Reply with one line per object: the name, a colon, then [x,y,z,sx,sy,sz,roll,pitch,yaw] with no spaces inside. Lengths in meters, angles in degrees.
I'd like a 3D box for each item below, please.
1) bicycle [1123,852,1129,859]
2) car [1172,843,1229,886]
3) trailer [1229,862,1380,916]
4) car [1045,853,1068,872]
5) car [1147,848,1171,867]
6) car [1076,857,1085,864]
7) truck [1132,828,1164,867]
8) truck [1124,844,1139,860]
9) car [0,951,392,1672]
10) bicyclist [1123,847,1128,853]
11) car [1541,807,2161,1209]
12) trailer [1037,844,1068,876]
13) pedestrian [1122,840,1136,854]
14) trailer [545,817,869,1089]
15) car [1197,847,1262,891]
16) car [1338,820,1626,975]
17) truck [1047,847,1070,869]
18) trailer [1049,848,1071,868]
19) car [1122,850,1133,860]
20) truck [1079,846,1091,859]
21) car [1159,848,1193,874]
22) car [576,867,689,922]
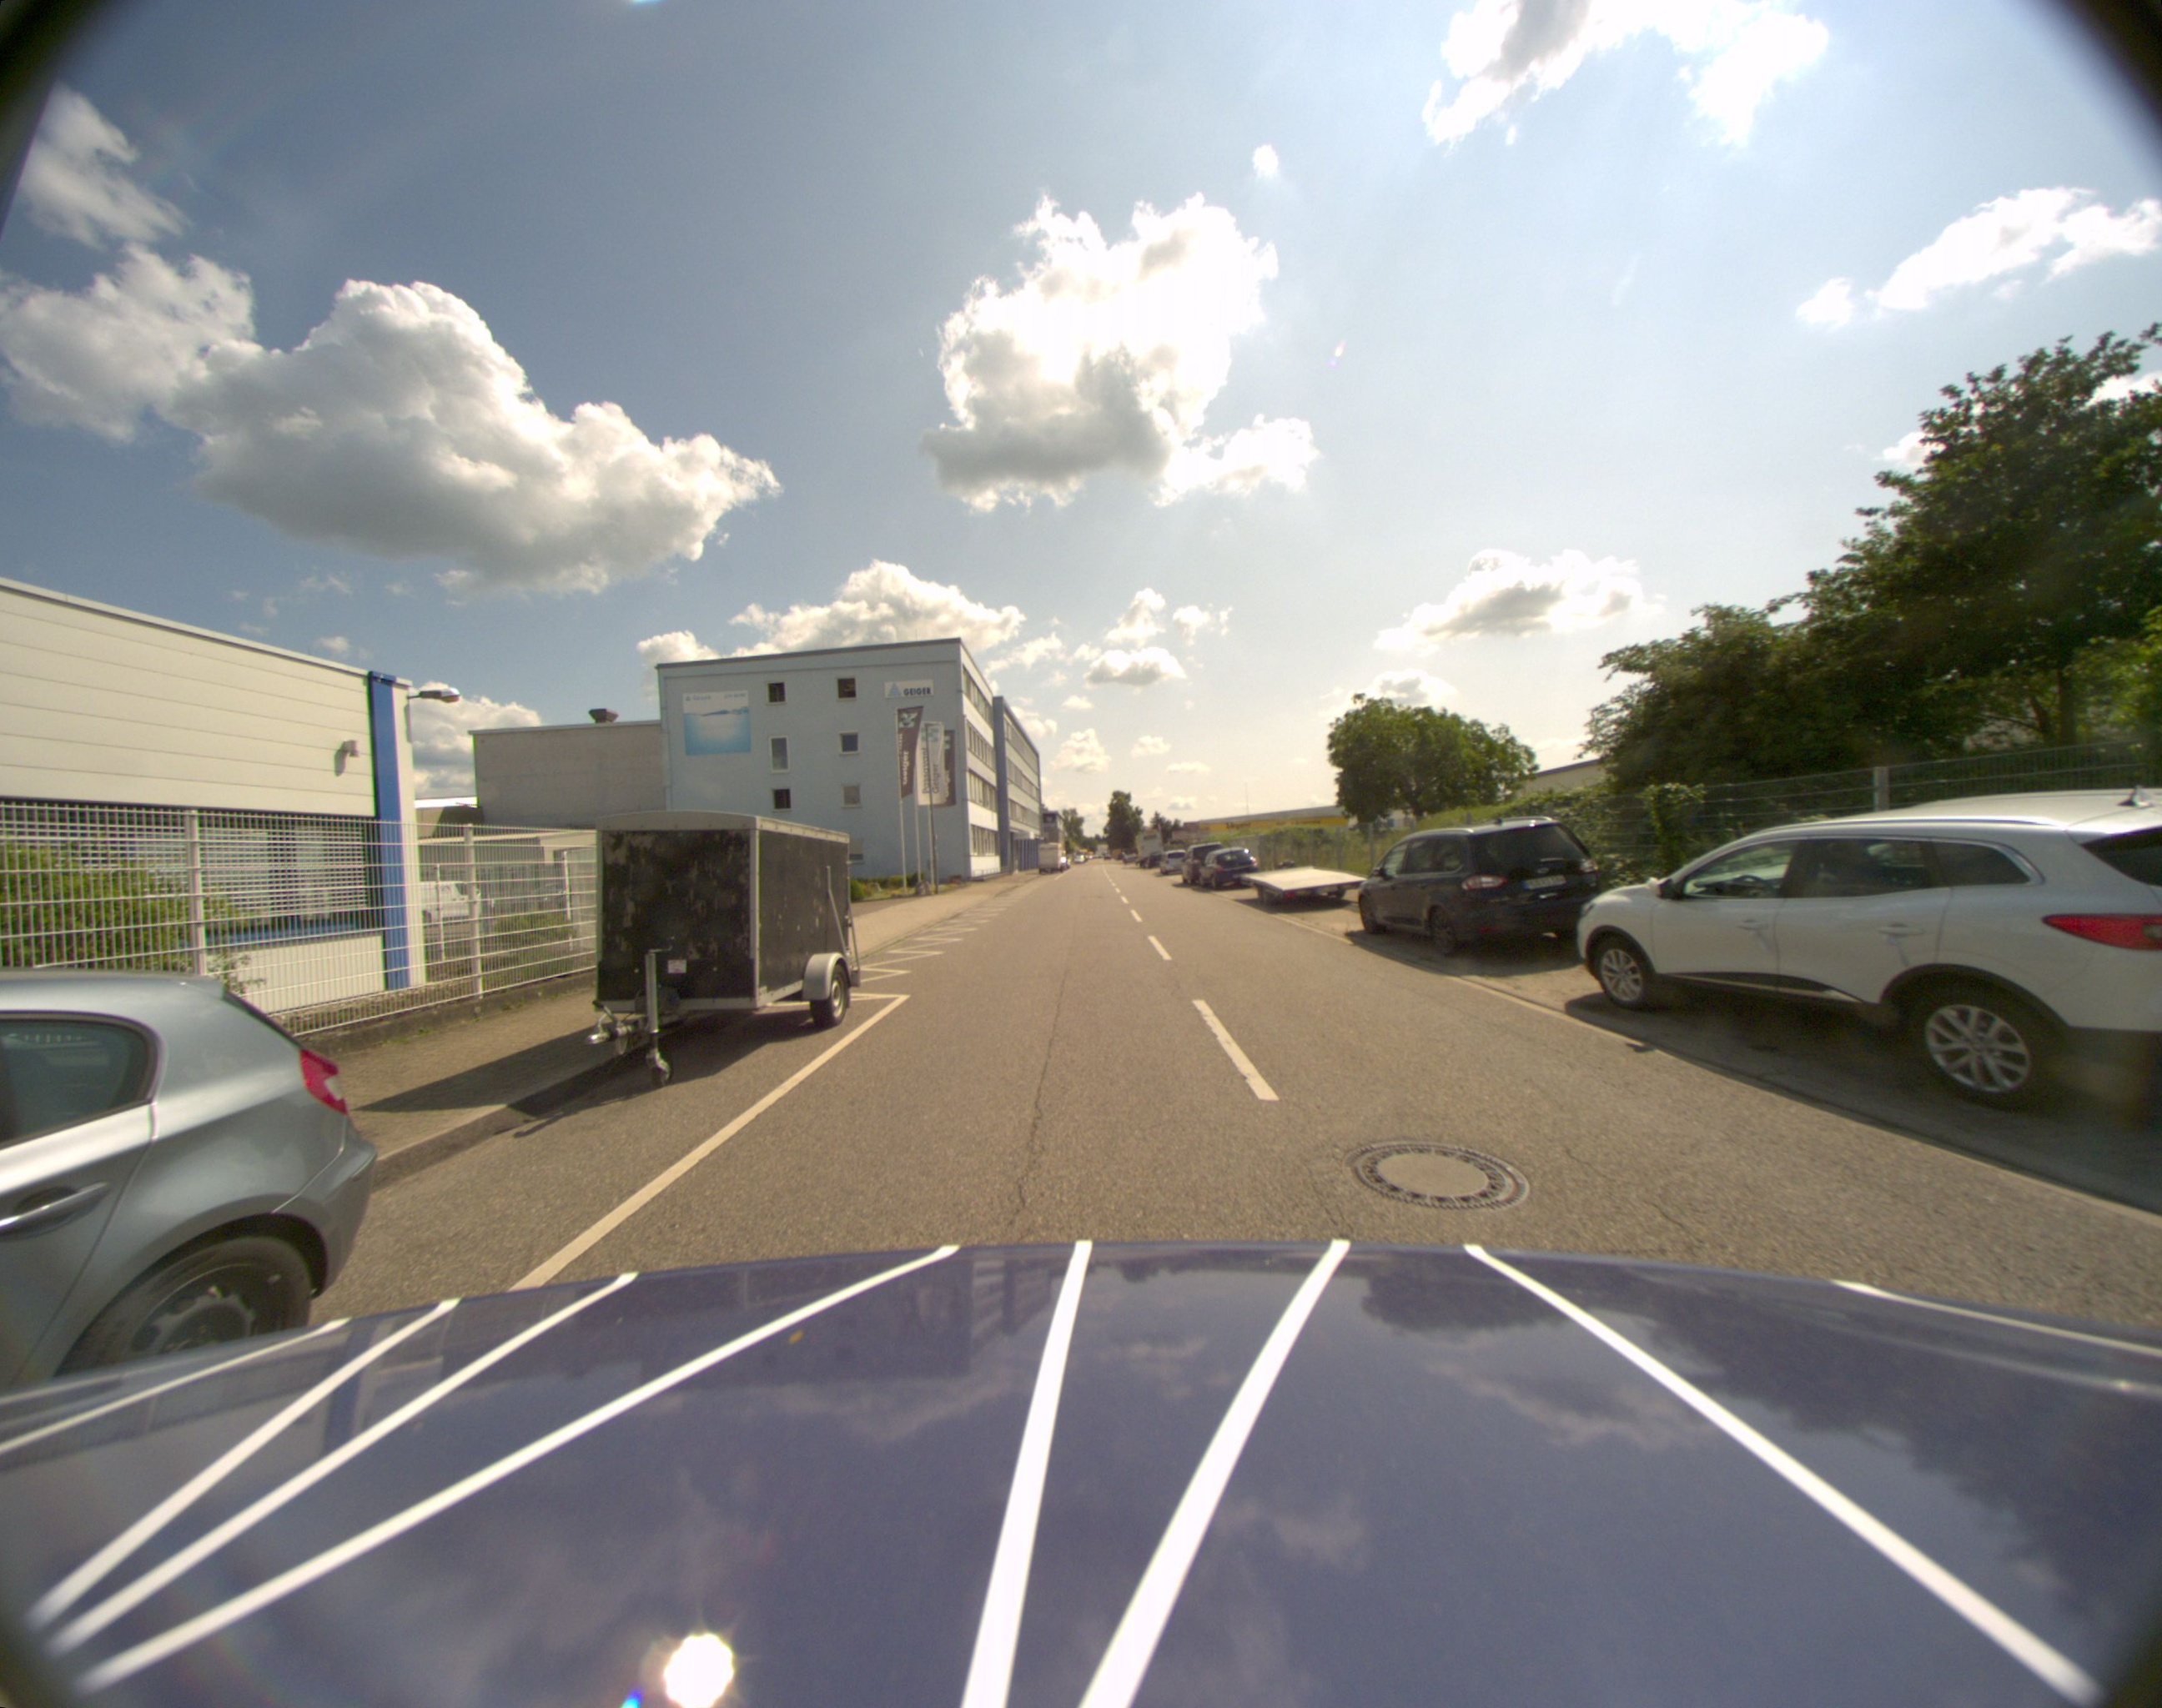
bicycle: [5.070,0.184,85.934,0.589,0.737,2.125,-3,0,4]
car: [5.296,0.433,34.148,1.805,1.739,4.712,-2,0,0]
trailer: [5.901,0.853,21.262,2.276,0.878,7.132,-7,0,2]
car: [-2.212,0.740,70.049,1.722,1.533,4.403,-4,0,2]
car: [6.952,0.287,67.740,1.623,1.421,3.827,-9,0,2]
car: [-0.018,1.292,146.211,1.657,1.324,4.000,-3,0,1]
truck: [6.518,-0.590,74.894,2.256,3.342,6.907,-7,0,0]
truck: [8.040,-0.354,119.859,2.133,2.225,7.351,-5,0,4]
car: [-3.238,1.091,0.580,1.576,1.498,4.133,-3,-1,1]
bicyclist: [5.025,-0.484,85.927,0.567,0.628,1.858,-4,-1,4]
car: [5.527,0.664,5.264,1.688,1.682,4.444,-7,0,-2]
trailer: [-2.325,0.477,63.051,1.873,2.538,5.073,-2,0,4]
pedestrian: [7.445,-1.109,119.102,1.998,2.002,4.000,-4,0,3]
trailer: [-3.288,0.770,7.276,1.605,2.025,2.741,-3,0,0]
car: [5.677,0.539,29.534,1.581,1.504,4.201,-3,0,-1]
car: [5.629,0.521,11.507,1.831,1.783,4.735,-2,0,0]
truck: [-2.211,0.398,75.347,1.969,2.023,4.734,-3,0,1]
trailer: [-2.179,0.385,78.805,1.978,1.959,5.766,-2,0,1]
car: [11.283,0.308,185.537,1.997,2.289,4.003,-3,0,11]
truck: [1.023,-0.318,178.946,2.402,2.787,6.376,-2,0,3]
car: [5.953,0.414,47.944,1.619,1.475,3.710,-5,0,1]
car: [-17.904,1.555,30.596,1.999,1.859,4.140,-3,0,-1]
